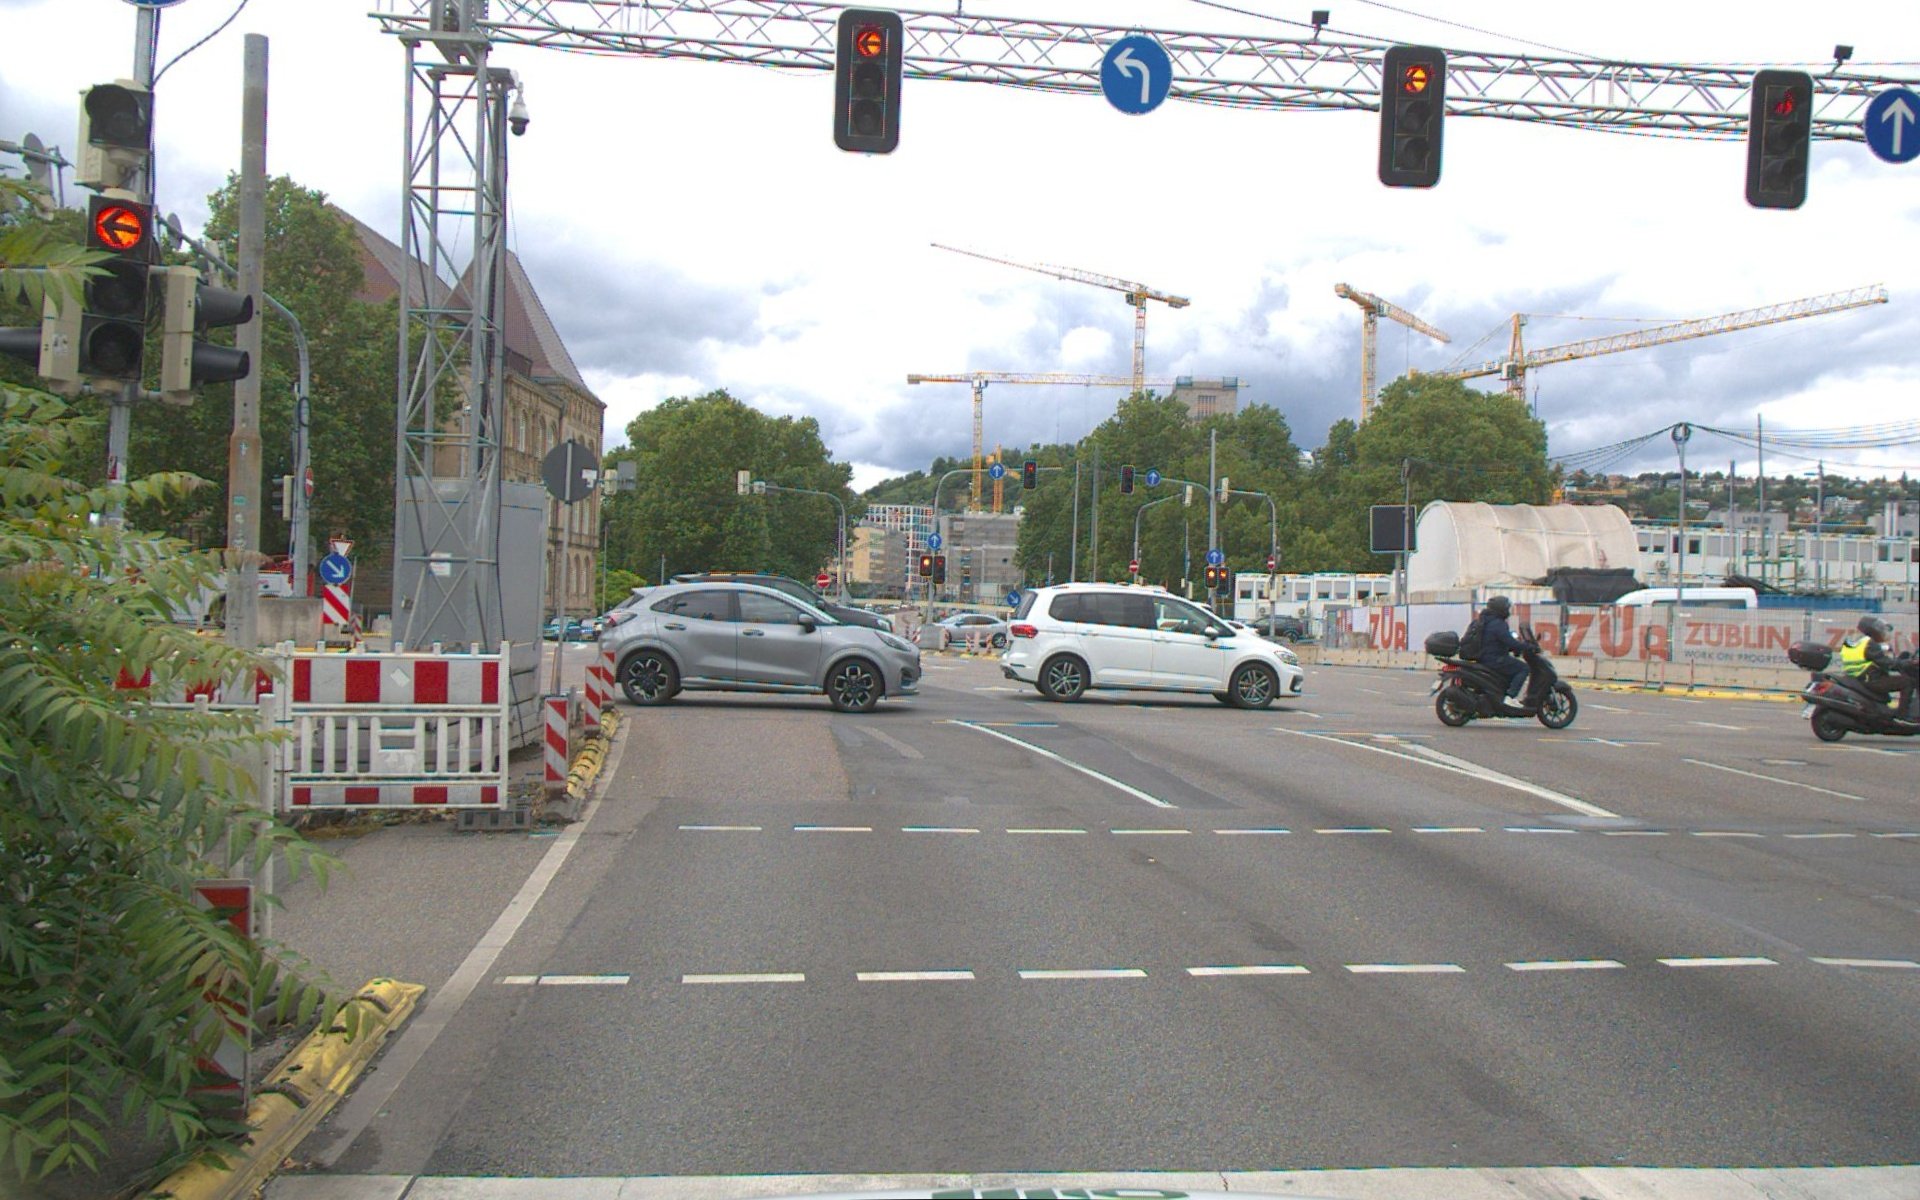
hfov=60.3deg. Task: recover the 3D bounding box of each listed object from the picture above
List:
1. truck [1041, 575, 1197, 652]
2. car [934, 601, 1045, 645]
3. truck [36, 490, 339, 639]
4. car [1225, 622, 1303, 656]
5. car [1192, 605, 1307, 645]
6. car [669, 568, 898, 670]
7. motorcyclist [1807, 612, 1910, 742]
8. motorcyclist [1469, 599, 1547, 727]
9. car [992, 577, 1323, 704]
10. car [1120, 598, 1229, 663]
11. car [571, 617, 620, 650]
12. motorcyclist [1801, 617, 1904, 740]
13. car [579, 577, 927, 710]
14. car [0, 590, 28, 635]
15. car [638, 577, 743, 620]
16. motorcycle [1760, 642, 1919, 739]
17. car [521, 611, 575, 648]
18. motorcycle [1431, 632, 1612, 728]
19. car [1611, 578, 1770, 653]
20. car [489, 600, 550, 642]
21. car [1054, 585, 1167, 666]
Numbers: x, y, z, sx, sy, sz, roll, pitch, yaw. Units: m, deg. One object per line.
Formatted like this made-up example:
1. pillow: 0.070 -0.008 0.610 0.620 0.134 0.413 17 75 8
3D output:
1. truck: 6.942 0.620 72.112 6.495 3.201 2.349 1 0 -24
2. car: 1.307 1.015 72.869 4.508 1.806 1.984 1 0 -26
3. truck: -27.848 -1.182 60.233 9.569 5.047 3.096 1 0 -20
4. car: 16.244 2.072 88.540 3.902 1.691 2.001 1 0 6
5. car: 13.814 1.179 78.958 5.101 1.816 2.149 1 0 -24
6. car: -3.444 0.372 32.047 4.171 1.866 1.993 1 0 -14
7. motorcyclist: 11.439 0.965 21.080 0.860 1.598 0.817 1 0 0
8. motorcyclist: 7.092 0.802 21.426 0.770 1.624 0.652 1 -1 0
9. car: 2.838 0.584 24.478 4.577 1.732 1.999 1 0 -3
10. car: 6.165 0.853 48.139 1.957 1.790 4.496 1 0 -9
11. car: -21.651 1.971 98.282 1.952 1.870 4.000 1 0 0
12. motorcyclist: 11.355 0.981 21.059 0.860 1.515 0.817 1 0 0
13. car: -2.558 0.539 21.211 4.209 1.567 1.999 1 0 -3
14. car: -33.664 0.369 54.349 5.066 1.444 2.220 1 0 -24
15. car: -11.490 -0.045 70.454 4.093 1.754 1.894 1 0 -24
16. motorcycle: 11.582 1.150 21.079 2.373 1.175 0.817 1 0 0
17. car: -21.491 1.524 86.428 1.954 1.870 3.997 1 0 -3
18. motorcycle: 7.253 1.031 21.415 2.123 1.175 0.652 1 0 0
19. car: 21.055 0.443 47.829 3.902 2.049 2.001 1 0 15
20. car: -20.533 0.965 77.196 1.954 1.870 3.997 1 0 -3
21. car: 3.842 0.619 41.453 1.825 1.865 4.724 1 0 18
